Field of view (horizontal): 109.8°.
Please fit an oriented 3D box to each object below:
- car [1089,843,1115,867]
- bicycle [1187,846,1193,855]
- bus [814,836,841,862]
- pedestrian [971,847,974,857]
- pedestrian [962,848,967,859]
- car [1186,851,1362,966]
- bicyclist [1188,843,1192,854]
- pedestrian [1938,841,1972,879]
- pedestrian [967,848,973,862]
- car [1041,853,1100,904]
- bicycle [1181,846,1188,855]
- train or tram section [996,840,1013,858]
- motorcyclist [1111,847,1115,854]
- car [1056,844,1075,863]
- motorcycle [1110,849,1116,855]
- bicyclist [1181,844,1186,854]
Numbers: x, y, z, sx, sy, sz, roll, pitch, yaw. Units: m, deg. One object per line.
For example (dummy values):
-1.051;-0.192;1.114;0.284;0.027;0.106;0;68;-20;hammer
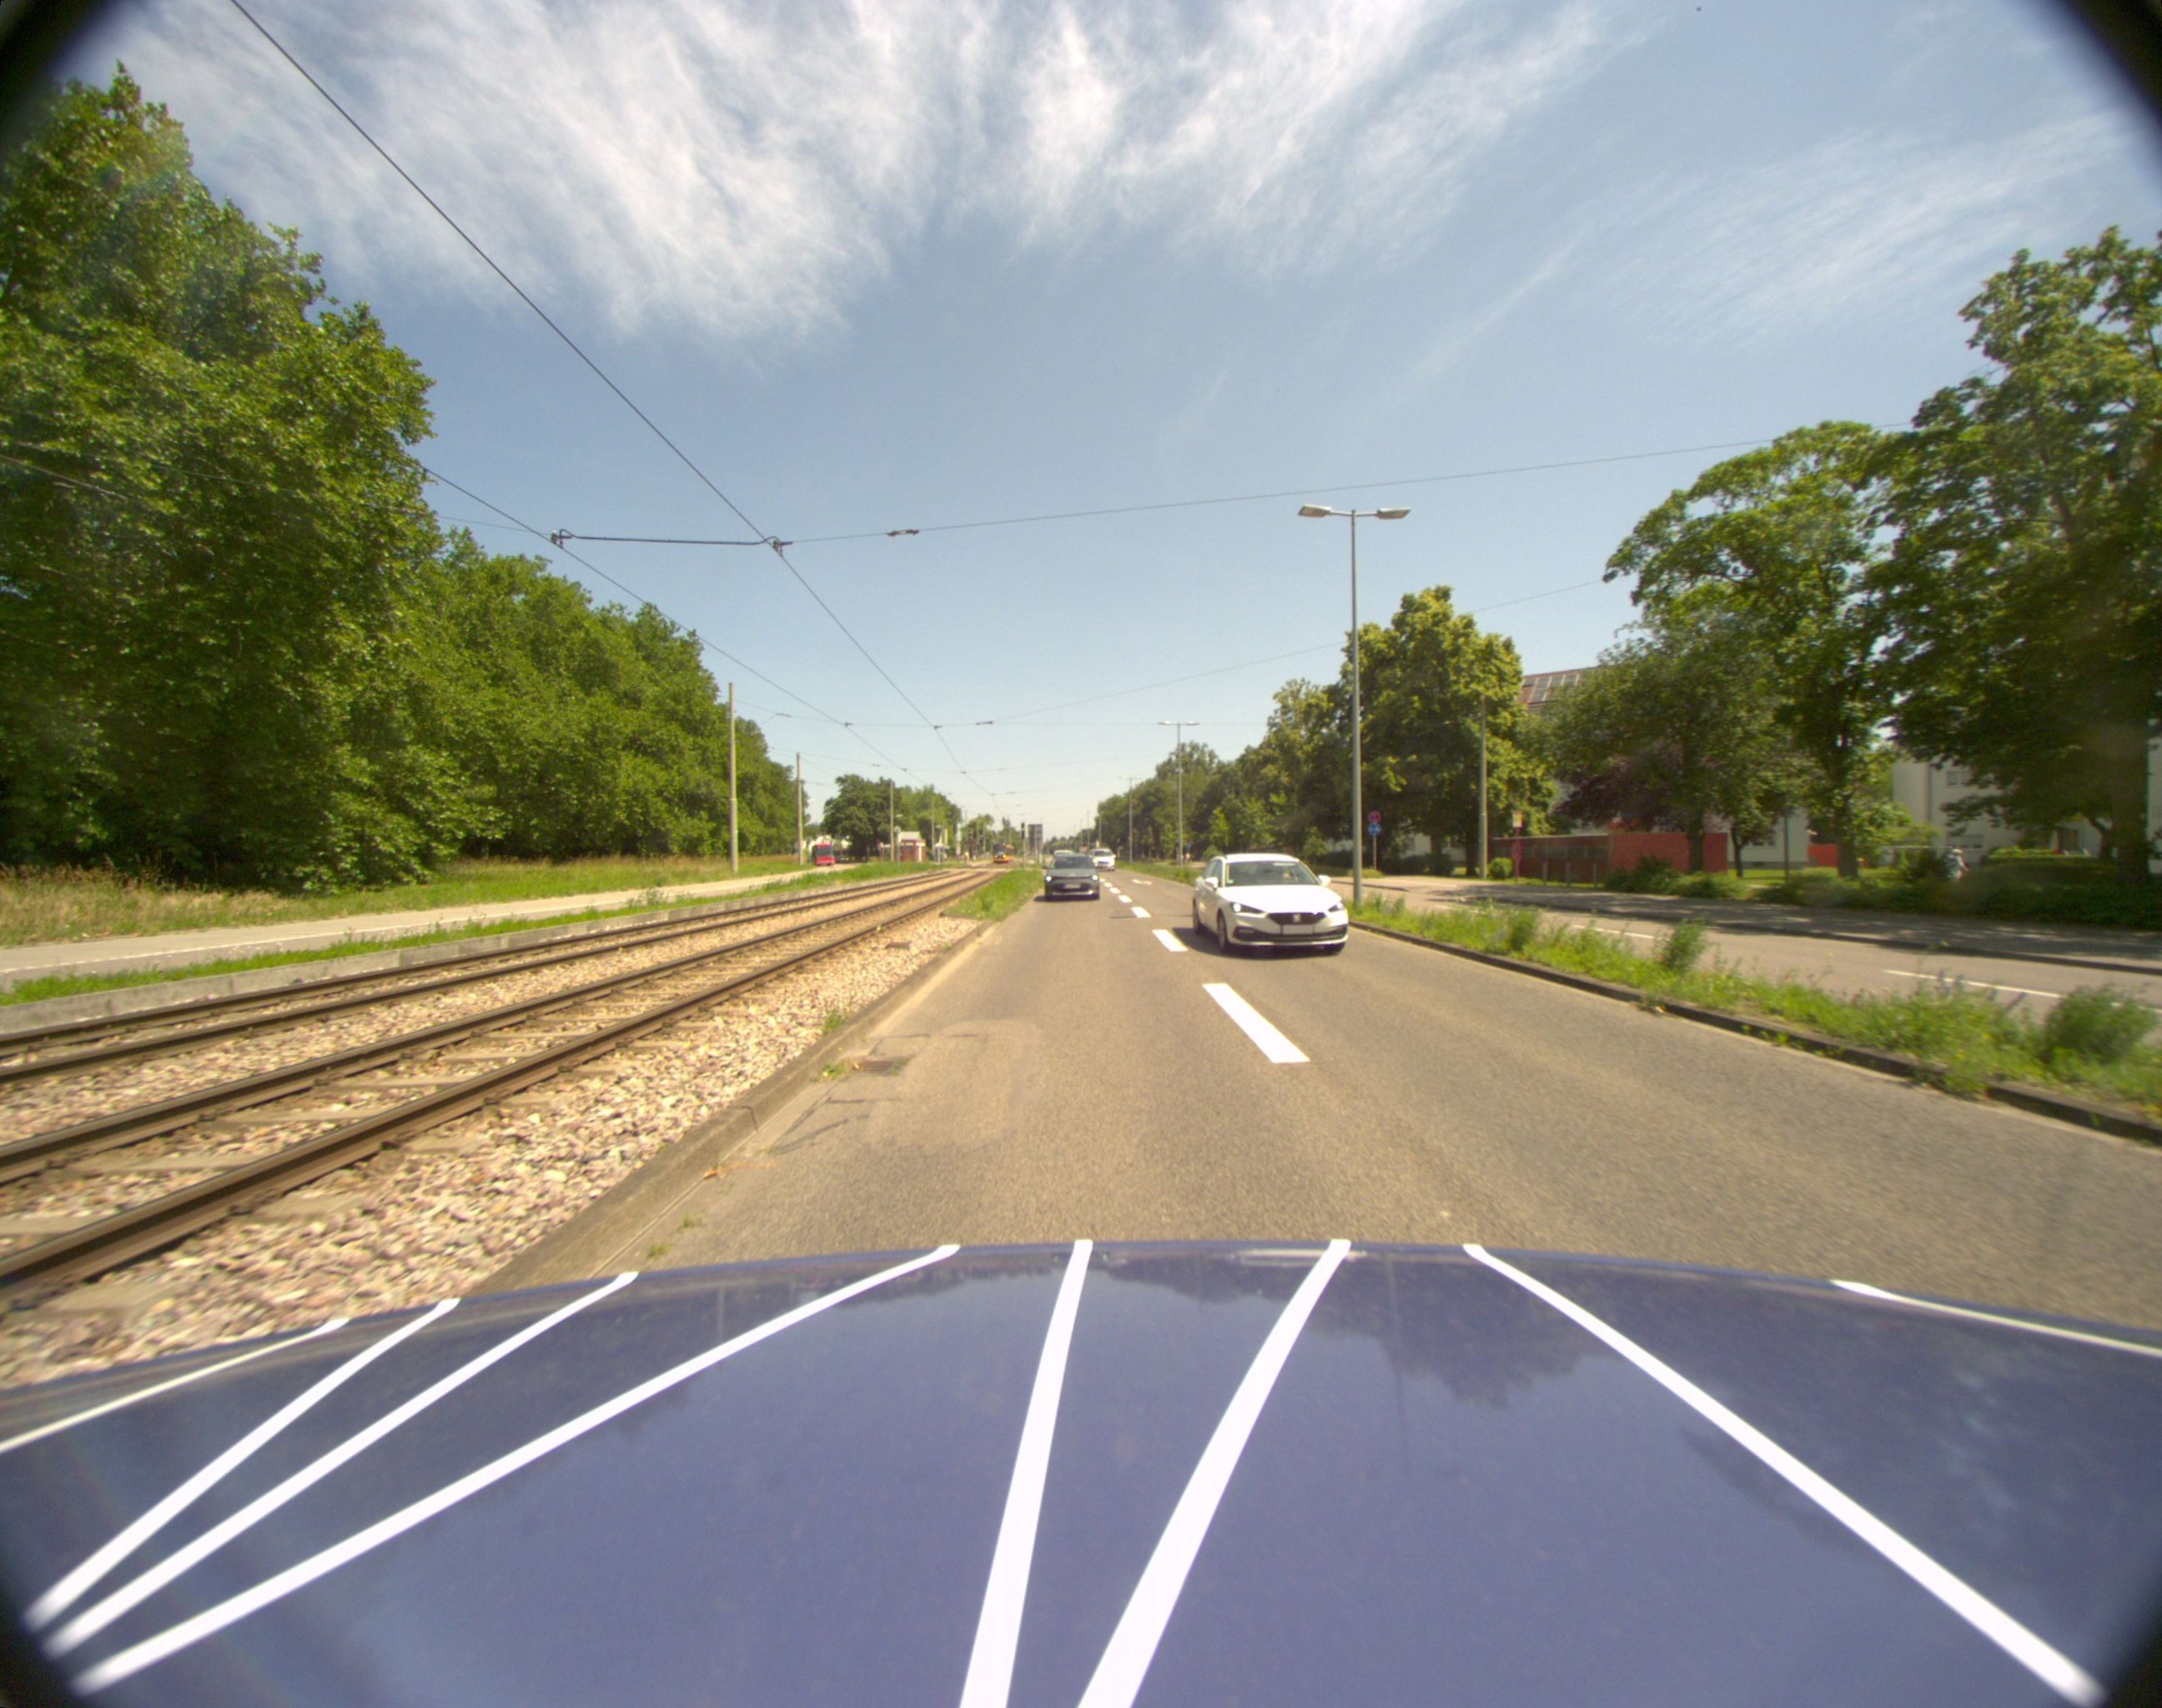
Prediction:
1.731;0.070;63.769;1.999;2.002;3.999;0;1;-1;car
13.800;-0.407;95.963;0.555;1.088;1.379;-2;2;-1;bicycle
-36.171;-0.773;108.120;2.771;3.419;12.420;-3;2;-22;bus
-17.030;-0.339;119.113;0.361;1.637;0.445;0;1;0;pedestrian
-19.211;-0.103;124.851;0.707;1.754;0.657;0;1;-1;pedestrian
2.891;0.732;12.307;1.772;1.460;4.111;-2;1;0;car
13.787;-0.642;95.995;0.358;1.384;0.440;-2;1;0;bicyclist
33.356;0.236;28.993;0.474;1.423;0.688;0;1;2;pedestrian
-14.510;0.106;99.588;0.637;1.749;0.815;-2;2;-16;pedestrian
-0.348;0.771;26.192;1.788;1.554;4.134;-2;0;0;car
12.983;-0.391;95.718;0.590;1.126;1.615;0;1;-2;bicycle
-13.636;-0.898;136.388;2.525;3.303;7.258;0;0;-2;train or tram section
6.696;-0.784;159.474;0.738;1.395;1.511;0;1;-8;motorcyclist
-1.747;-0.052;84.533;1.922;2.002;3.998;0;1;-3;car
6.738;-0.430;159.404;0.808;1.291;2.393;0;1;-7;motorcycle
12.972;-0.614;96.179;0.546;1.338;0.755;0;1;-3;bicyclist
